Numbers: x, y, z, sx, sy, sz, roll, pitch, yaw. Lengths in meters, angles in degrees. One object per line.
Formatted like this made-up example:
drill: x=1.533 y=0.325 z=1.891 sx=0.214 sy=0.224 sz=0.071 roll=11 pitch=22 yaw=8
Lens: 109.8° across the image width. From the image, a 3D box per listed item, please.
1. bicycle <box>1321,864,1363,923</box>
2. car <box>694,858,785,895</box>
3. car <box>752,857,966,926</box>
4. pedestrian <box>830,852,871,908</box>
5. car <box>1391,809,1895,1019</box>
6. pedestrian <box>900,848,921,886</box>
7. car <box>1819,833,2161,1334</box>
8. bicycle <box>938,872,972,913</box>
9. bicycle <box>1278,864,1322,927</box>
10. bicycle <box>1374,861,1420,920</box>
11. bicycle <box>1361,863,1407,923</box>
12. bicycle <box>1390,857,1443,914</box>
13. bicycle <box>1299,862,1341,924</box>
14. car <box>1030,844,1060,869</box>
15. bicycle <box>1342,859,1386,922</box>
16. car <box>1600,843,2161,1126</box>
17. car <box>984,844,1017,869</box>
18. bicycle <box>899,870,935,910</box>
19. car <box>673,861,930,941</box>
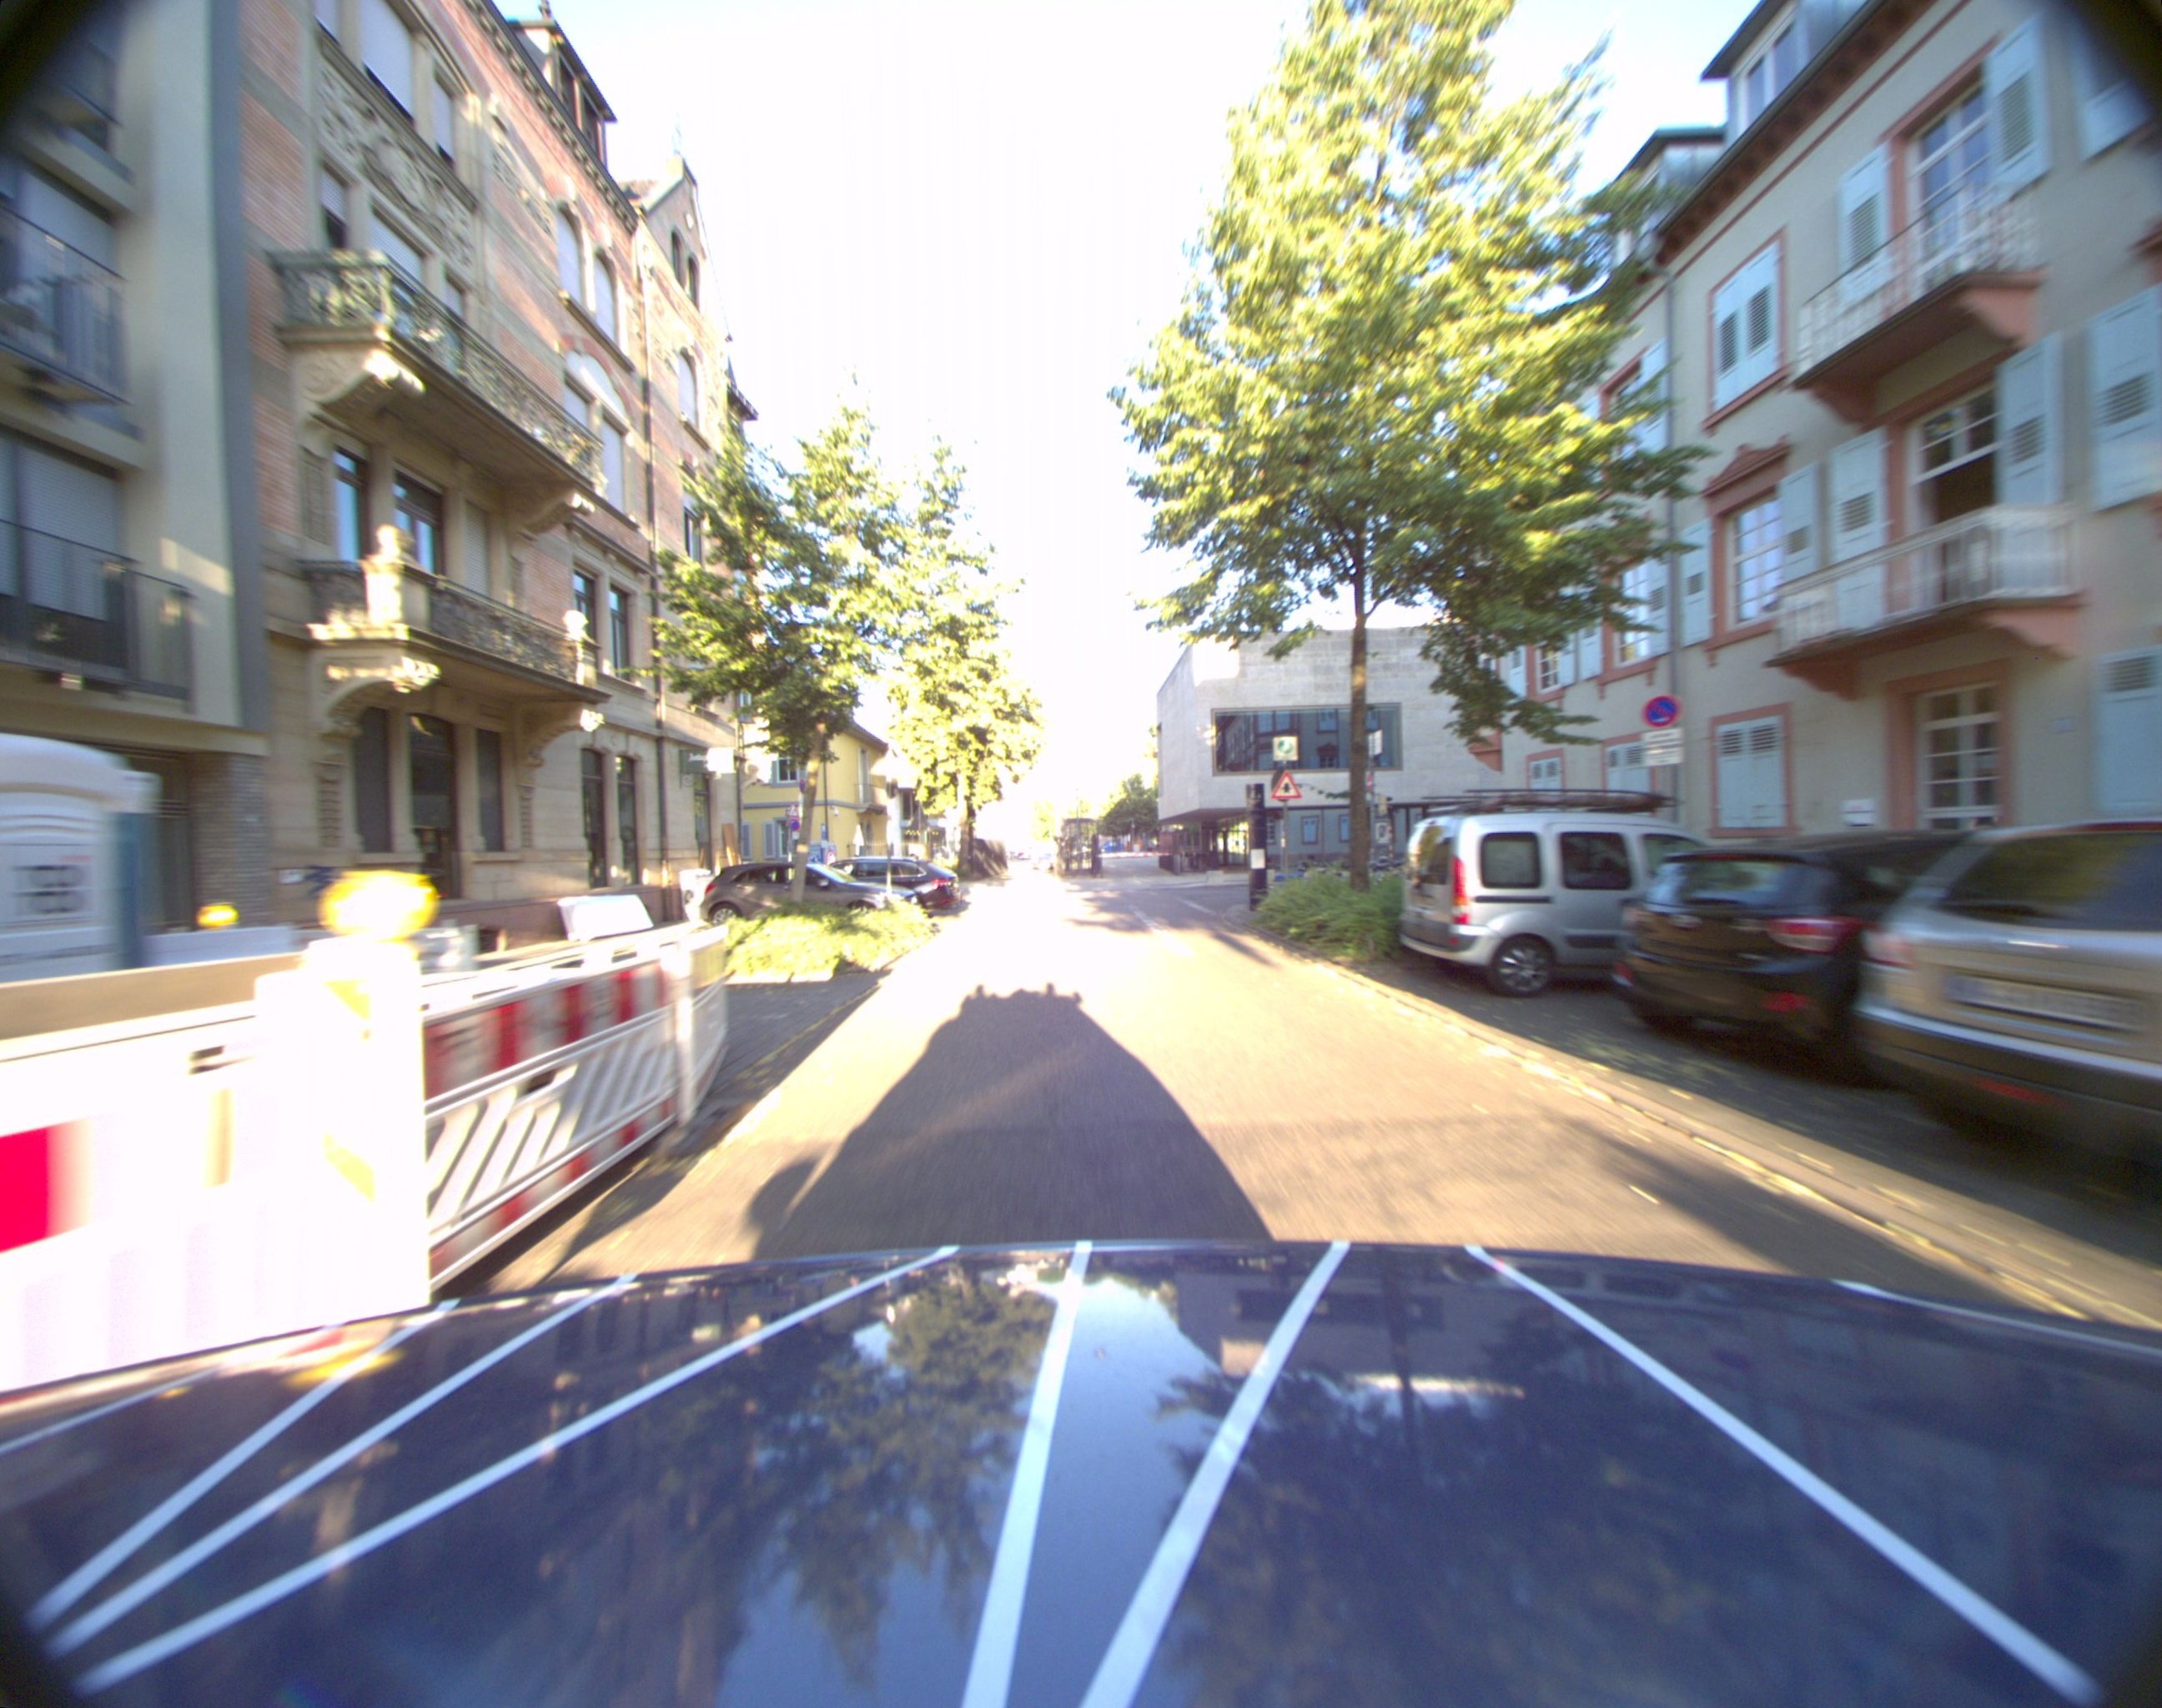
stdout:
bicycle: x=5.288 y=0.770 z=15.446 sx=0.319 sy=1.075 sz=1.596 roll=-3 pitch=1 yaw=2
car: x=-14.567 y=0.953 z=32.476 sx=3.216 sy=1.511 sz=1.547 roll=-1 pitch=0 yaw=10
car: x=-5.171 y=0.859 z=18.159 sx=4.538 sy=1.502 sz=1.911 roll=0 pitch=1 yaw=-1
pedestrian: x=-7.055 y=0.769 z=23.298 sx=0.962 sy=1.649 sz=0.638 roll=-3 pitch=2 yaw=-42
car: x=5.409 y=0.546 z=7.741 sx=3.819 sy=1.839 sz=1.700 roll=-1 pitch=1 yaw=3
pedestrian: x=-7.342 y=0.563 z=32.737 sx=0.672 sy=1.586 sz=0.469 roll=-1 pitch=1 yaw=12
car: x=5.435 y=0.693 z=2.705 sx=3.834 sy=1.576 sz=1.741 roll=-2 pitch=2 yaw=2
bicycle: x=-3.499 y=1.047 z=21.188 sx=0.571 sy=1.041 sz=1.832 roll=-1 pitch=1 yaw=2
bicycle: x=4.361 y=0.801 z=15.218 sx=0.396 sy=1.102 sz=1.712 roll=-3 pitch=1 yaw=2
bicycle: x=6.466 y=0.722 z=15.607 sx=0.323 sy=1.076 sz=1.596 roll=-2 pitch=1 yaw=2
bicycle: x=6.039 y=0.751 z=15.208 sx=0.341 sy=1.076 sz=1.596 roll=-1 pitch=1 yaw=2
bicycle: x=6.857 y=0.615 z=15.604 sx=0.396 sy=1.075 sz=1.596 roll=-3 pitch=1 yaw=2
bicycle: x=4.788 y=0.757 z=15.285 sx=0.331 sy=1.134 sz=1.596 roll=-3 pitch=1 yaw=2
car: x=-2.443 y=0.148 z=52.153 sx=1.709 sy=1.575 sz=3.679 roll=-2 pitch=2 yaw=2
bicycle: x=5.686 y=0.713 z=15.337 sx=0.312 sy=1.142 sz=1.612 roll=-2 pitch=2 yaw=2
car: x=5.811 y=0.721 z=4.960 sx=3.657 sy=1.506 sz=1.649 roll=-1 pitch=1 yaw=5
car: x=-6.071 y=0.179 z=57.588 sx=1.707 sy=1.727 sz=4.064 roll=1 pitch=2 yaw=5
bicycle: x=-4.609 y=0.999 z=21.480 sx=0.639 sy=1.008 sz=1.831 roll=-1 pitch=1 yaw=-1
car: x=-5.594 y=0.925 z=15.598 sx=4.537 sy=1.471 sz=1.867 roll=0 pitch=1 yaw=2
